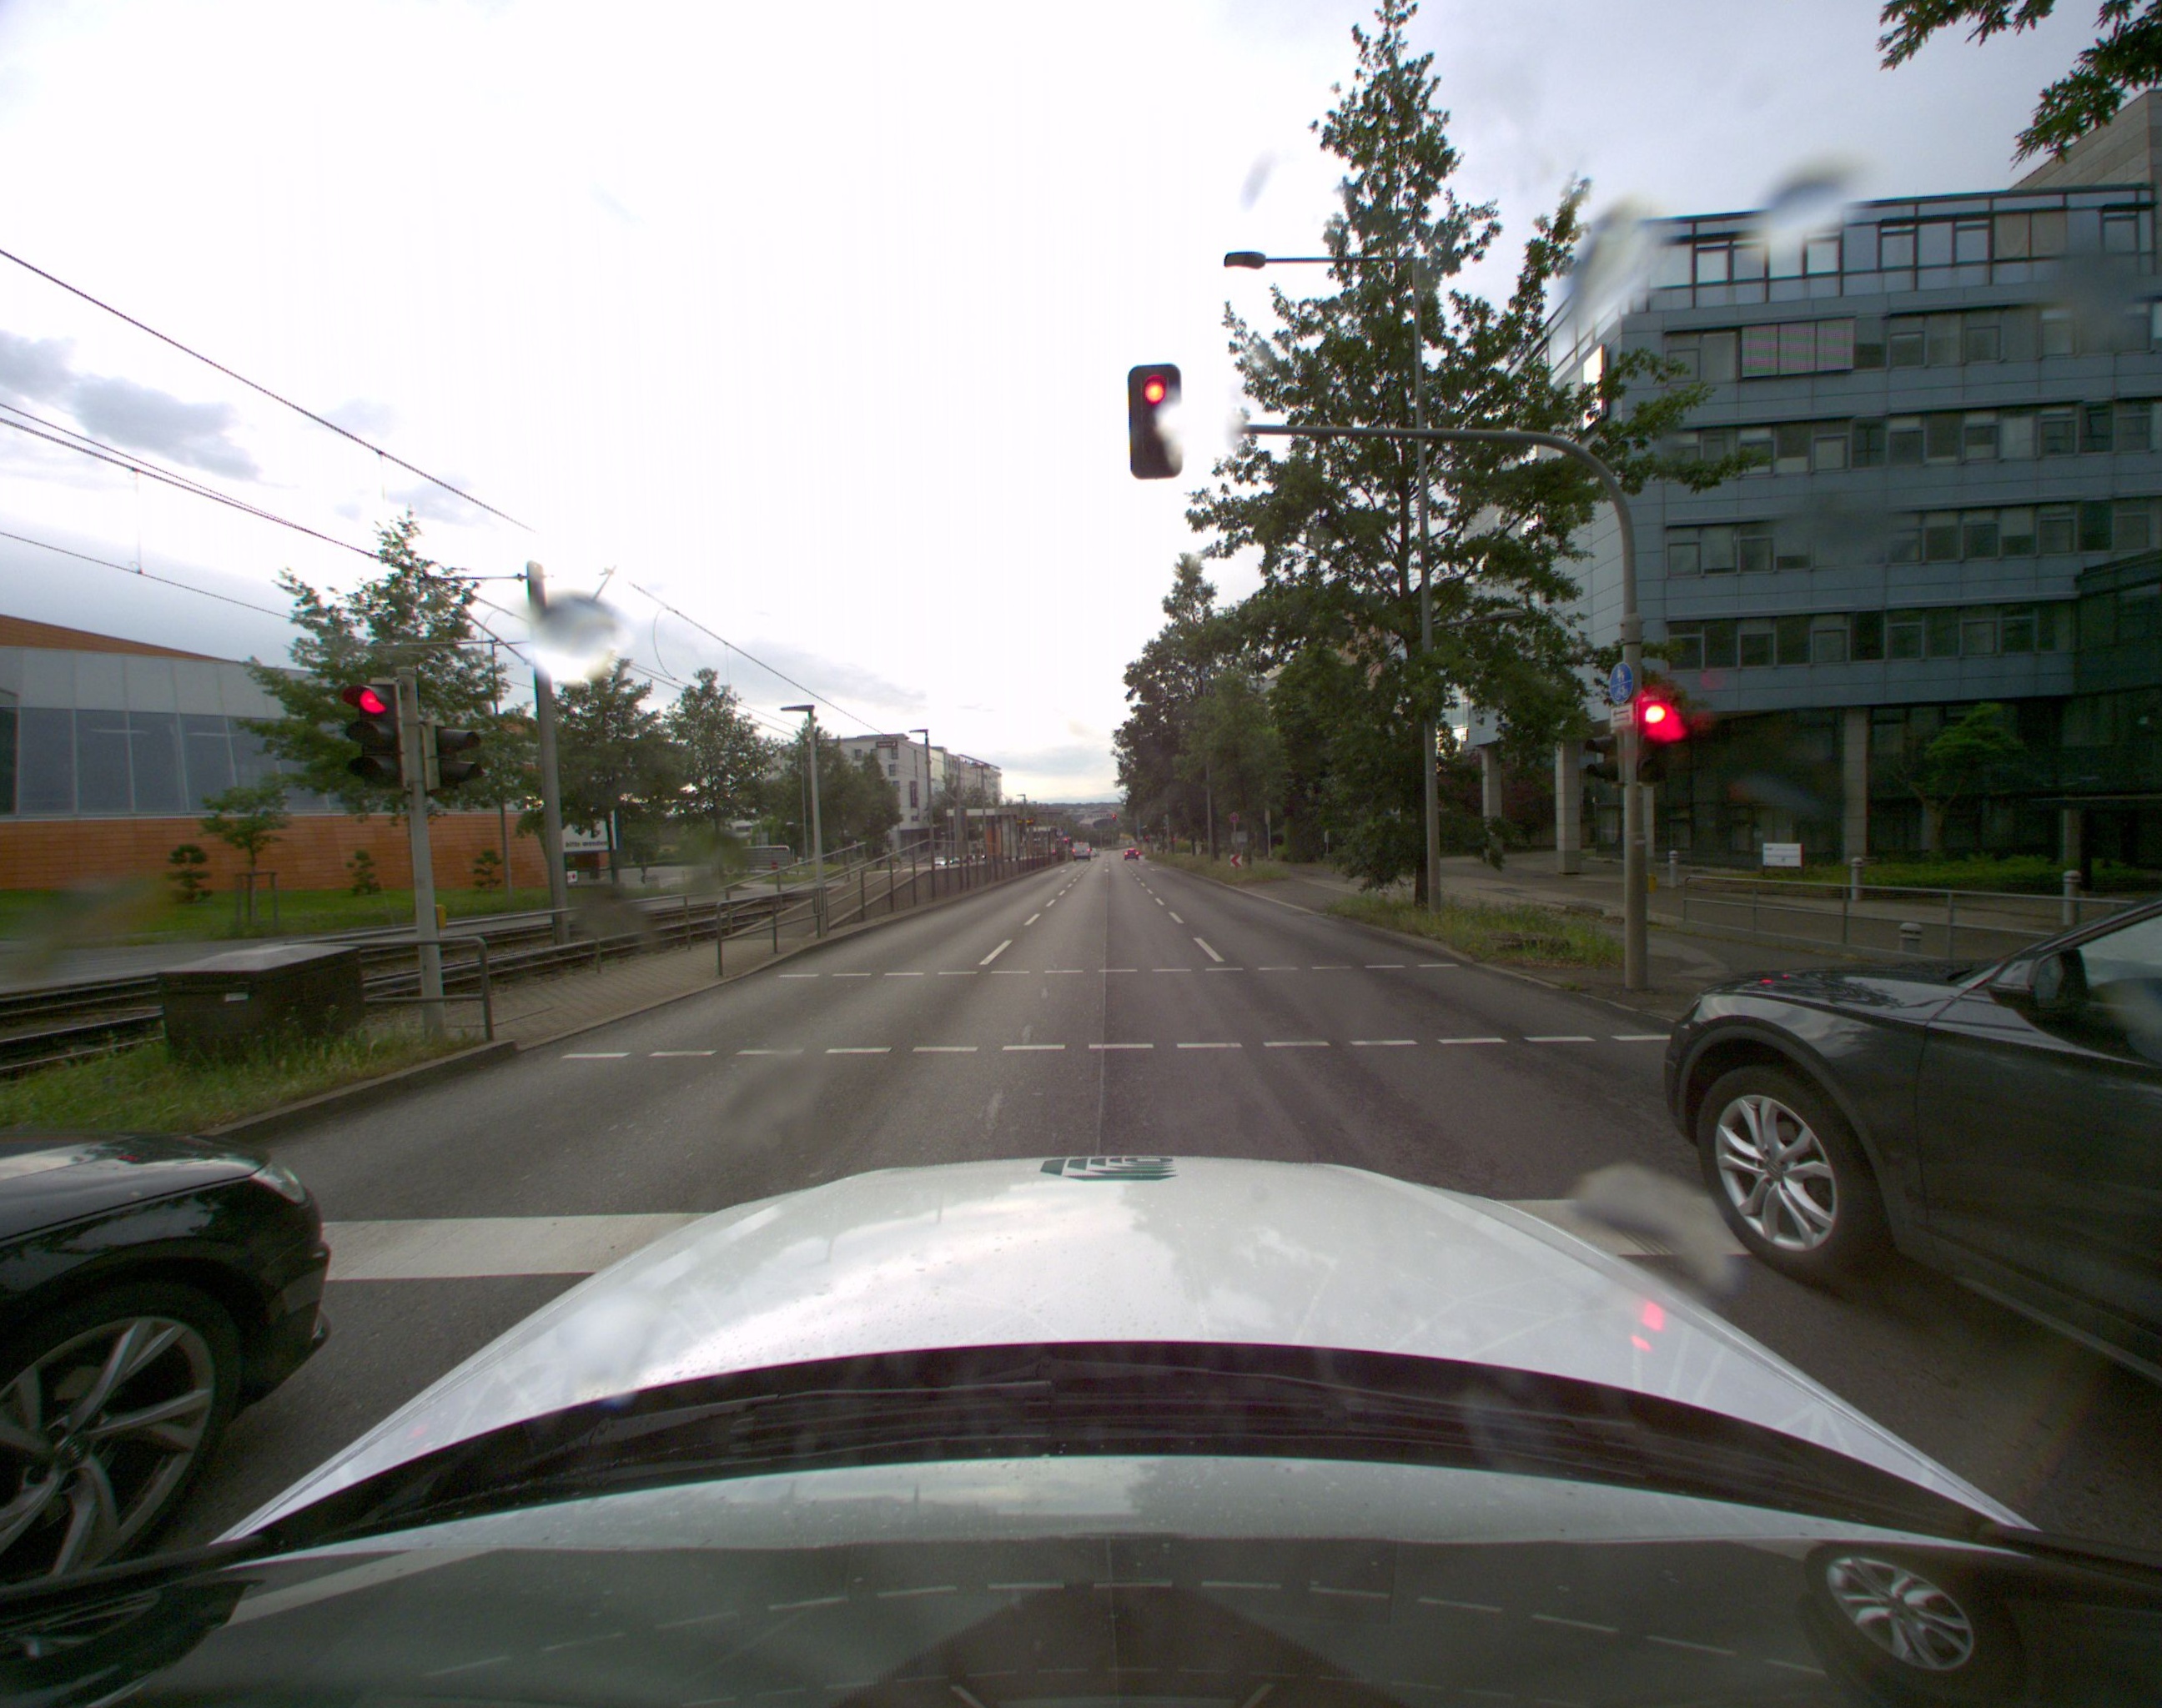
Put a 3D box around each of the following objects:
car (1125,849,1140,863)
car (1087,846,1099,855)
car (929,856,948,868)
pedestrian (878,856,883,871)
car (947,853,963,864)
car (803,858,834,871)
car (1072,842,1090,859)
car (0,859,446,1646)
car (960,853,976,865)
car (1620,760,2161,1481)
[{"bbox_3d":[6.515,0.209,102.832,1.767,1.691,3.847,-1,0,2],"label":"car"},{"bbox_3d":[1.953,-0.527,134.732,1.775,1.390,4.003,-2,0,3],"label":"car"},{"bbox_3d":[-18.103,0.985,103.719,1.646,1.436,3.878,-4,0,-1],"label":"car"},{"bbox_3d":[-26.923,1.274,109.464,0.473,1.920,0.490,-1,0,1],"label":"pedestrian"},{"bbox_3d":[-17.294,0.572,111.869,1.562,1.378,3.518,-2,0,0],"label":"car"},{"bbox_3d":[-31.186,1.245,96.748,3.341,1.387,1.440,-1,0,18],"label":"car"},{"bbox_3d":[-0.021,-0.449,102.649,2.085,2.053,4.608,-1,0,2],"label":"car"},{"bbox_3d":[-2.968,0.779,0.320,1.774,1.466,4.515,-1,0,2],"label":"car"},{"bbox_3d":[-14.554,0.680,104.734,1.651,1.436,3.865,-4,0,-11],"label":"car"},{"bbox_3d":[3.300,0.580,1.442,1.811,1.612,4.472,-1,0,2],"label":"car"}]
